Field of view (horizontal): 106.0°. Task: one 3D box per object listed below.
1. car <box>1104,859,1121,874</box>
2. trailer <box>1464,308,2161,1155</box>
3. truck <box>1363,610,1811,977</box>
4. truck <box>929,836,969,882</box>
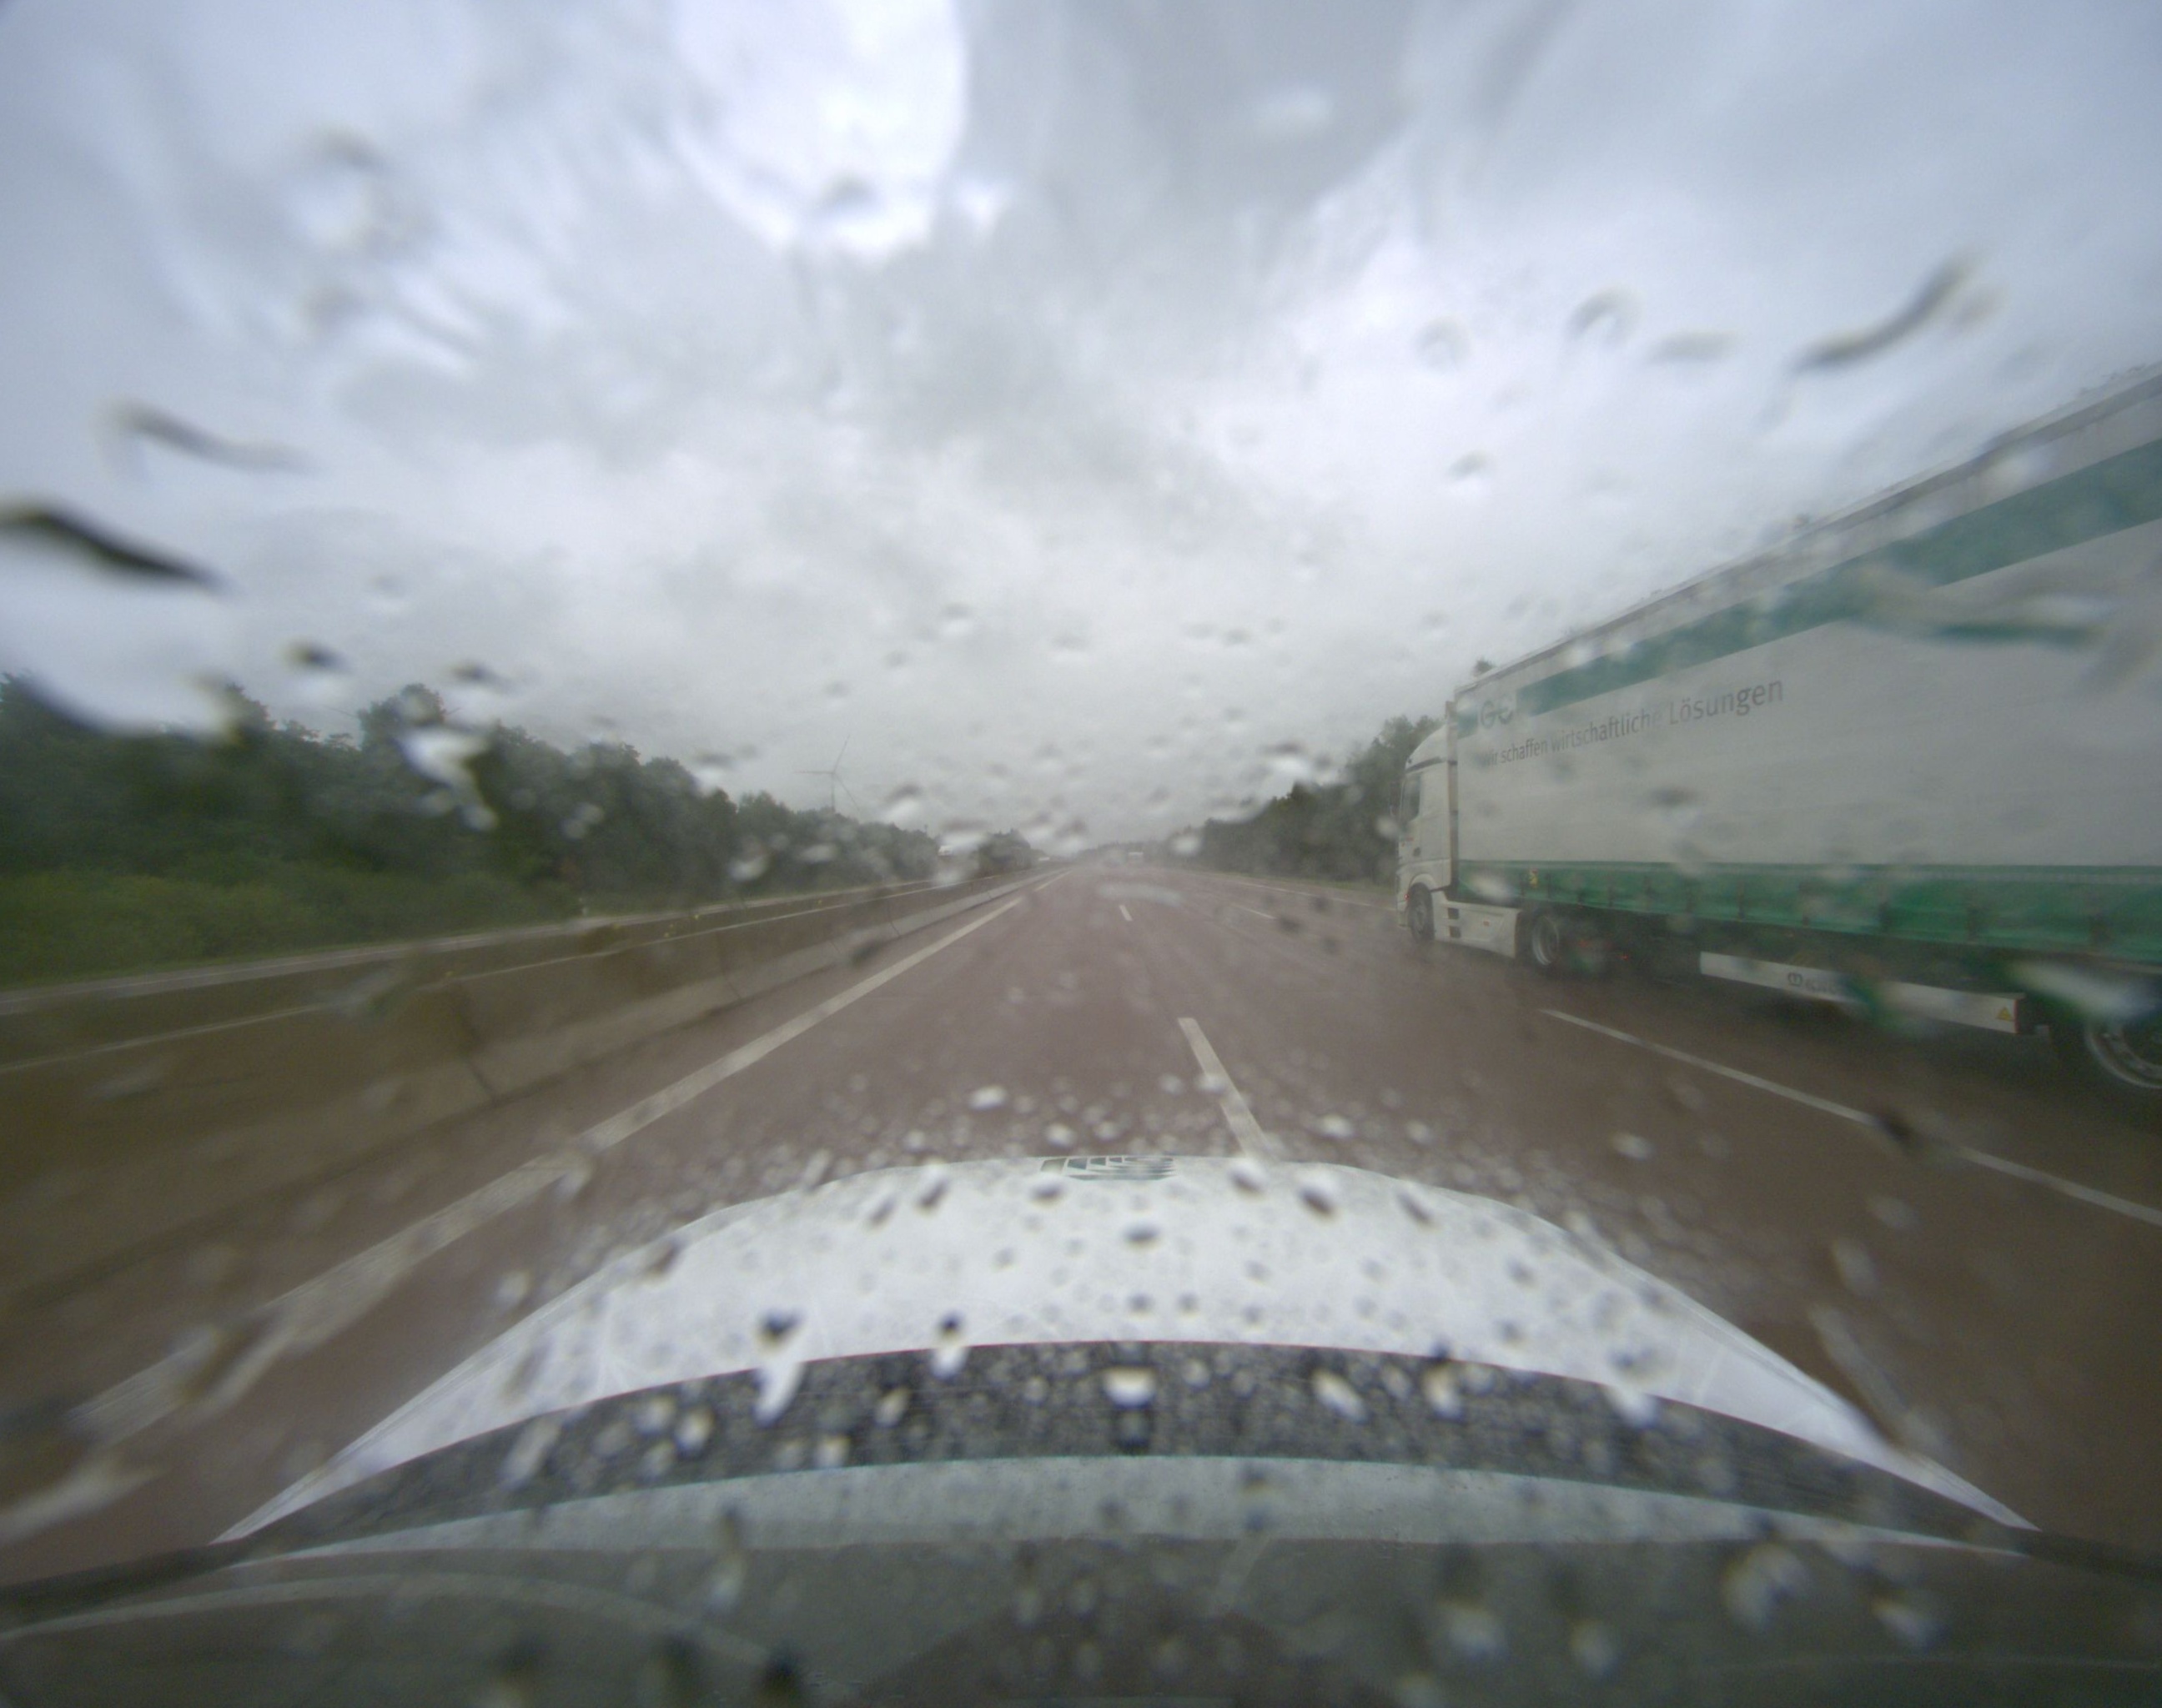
[{"bbox_3d":[4.374,1.750,113.290,2.165,1.981,4.131,2,0,1],"label":"car"},{"bbox_3d":[6.847,-0.648,4.919,2.843,4.231,13.132,-3,0,1],"label":"trailer"},{"bbox_3d":[6.930,-0.719,12.551,2.871,4.106,6.350,-3,0,1],"label":"truck"},{"bbox_3d":[-16.035,0.605,99.484,3.408,5.379,8.158,0,-1,1],"label":"truck"}]
